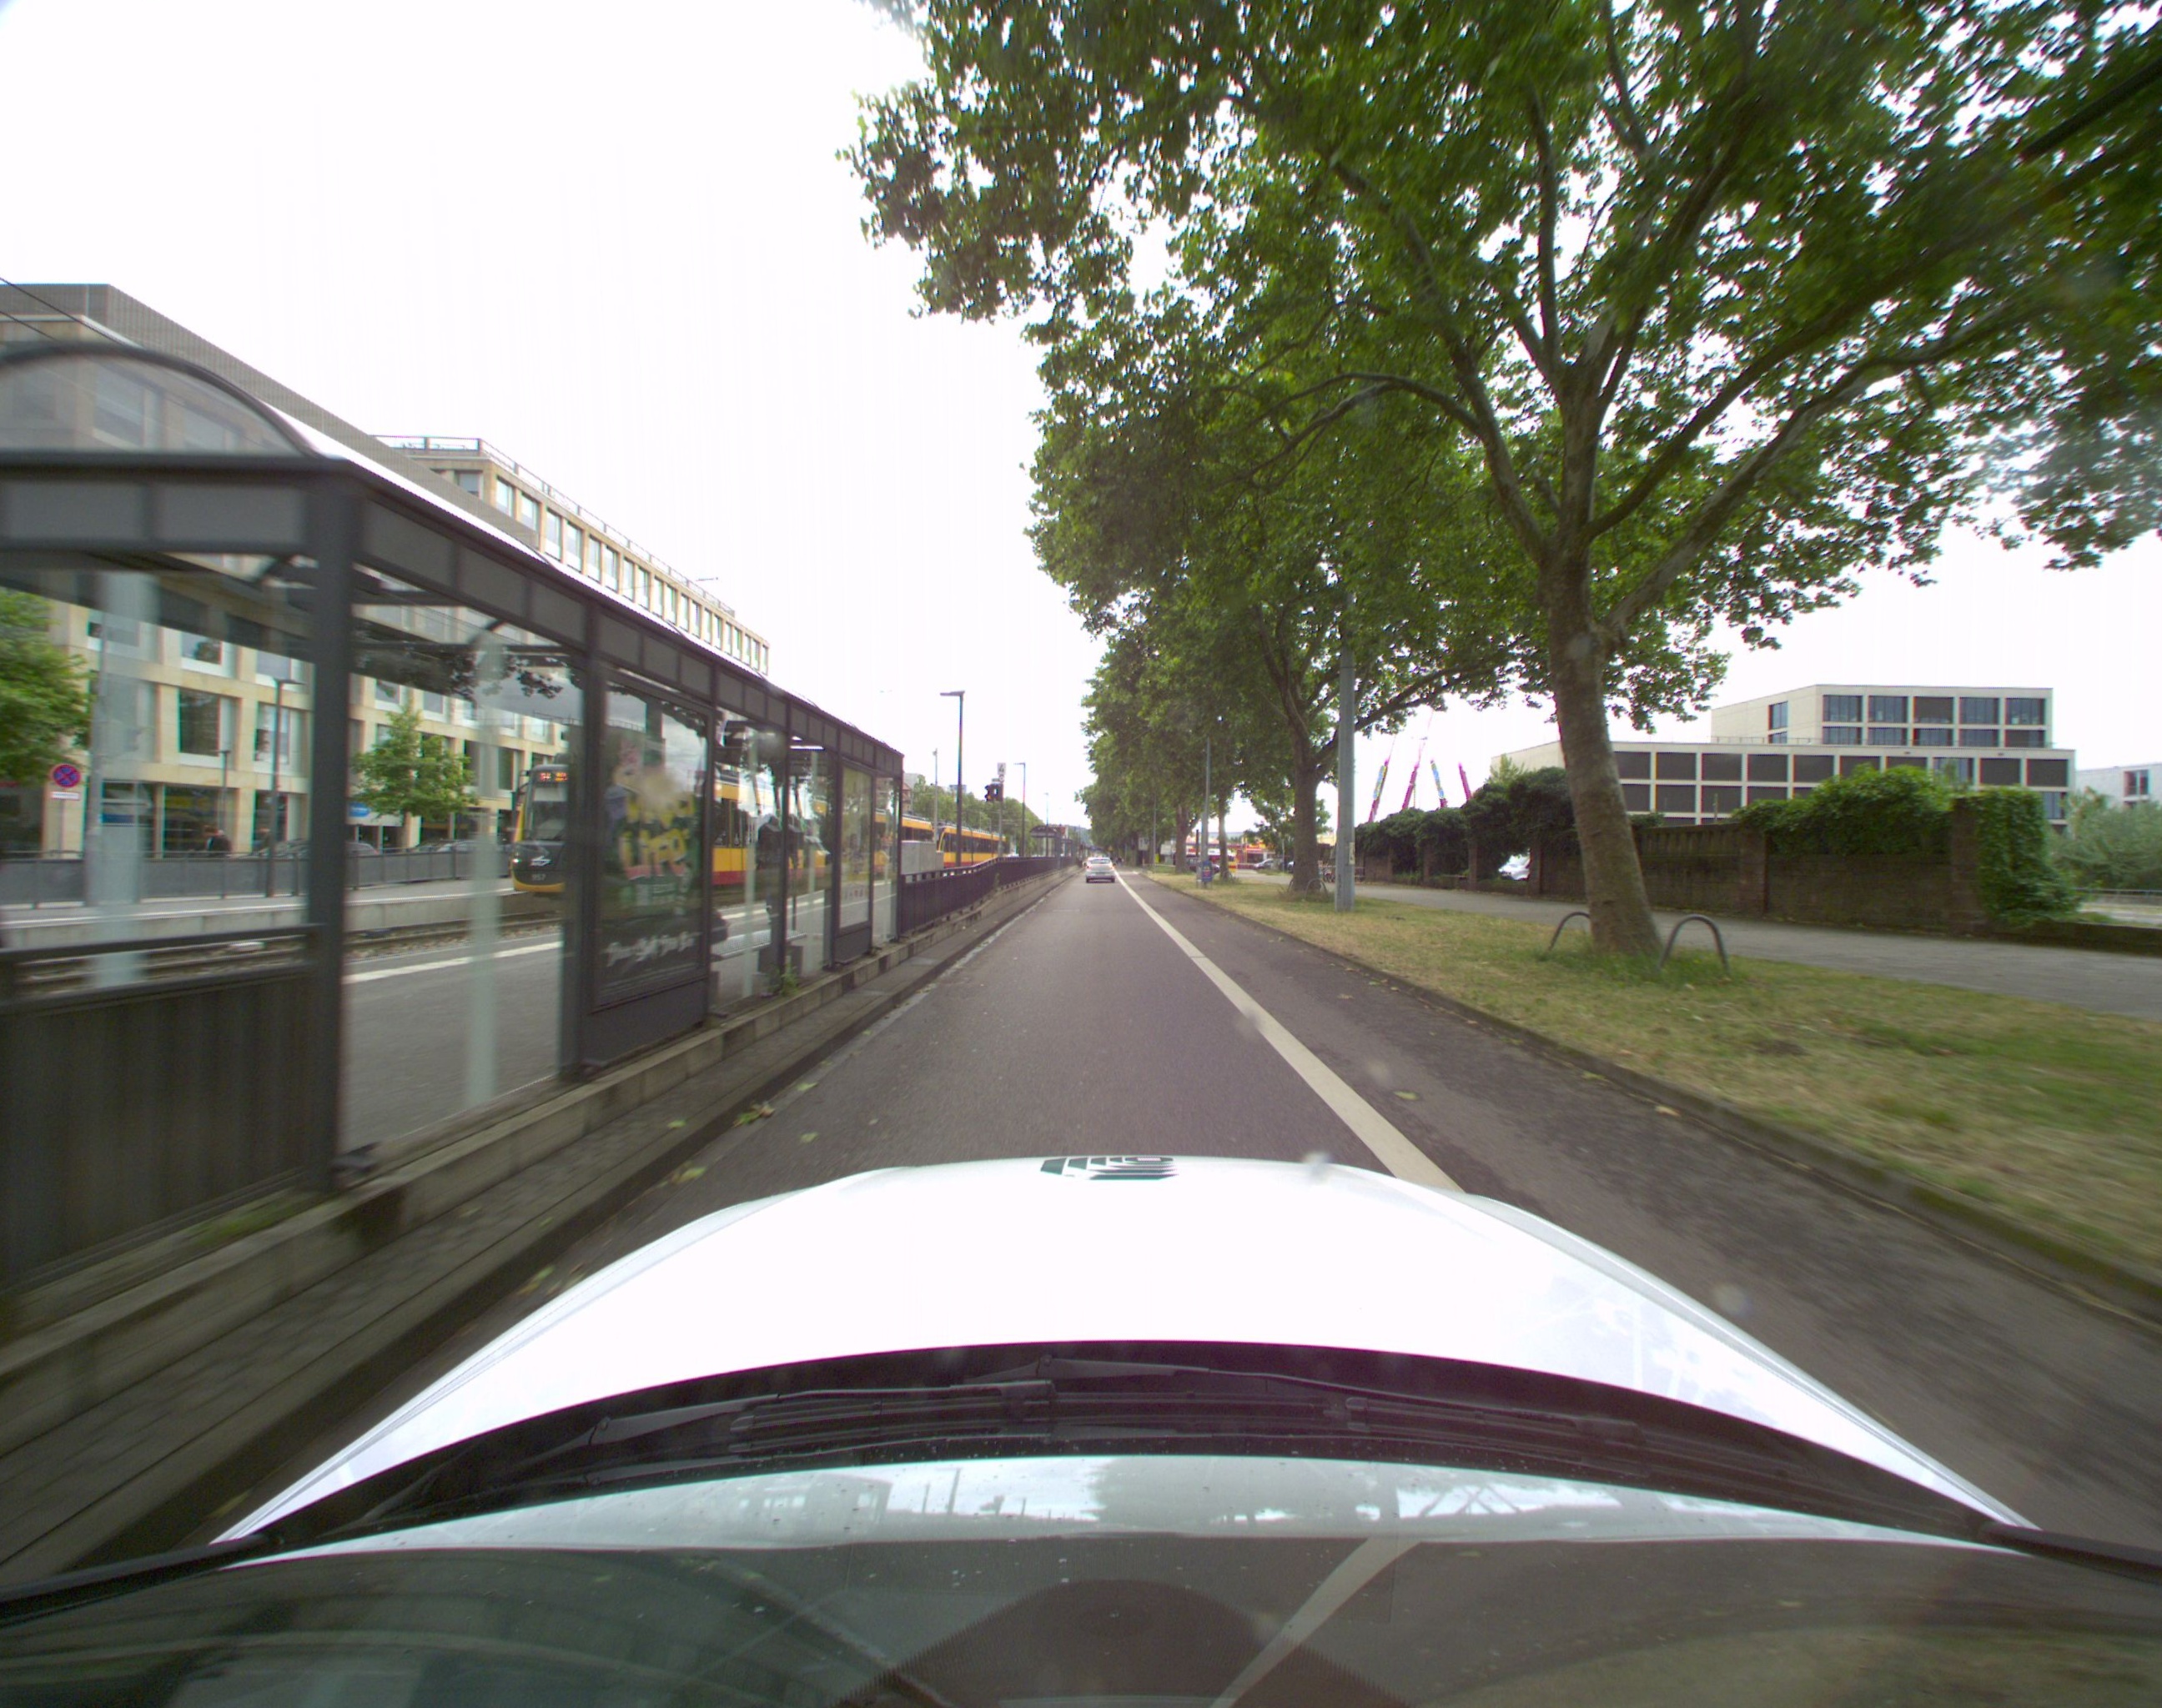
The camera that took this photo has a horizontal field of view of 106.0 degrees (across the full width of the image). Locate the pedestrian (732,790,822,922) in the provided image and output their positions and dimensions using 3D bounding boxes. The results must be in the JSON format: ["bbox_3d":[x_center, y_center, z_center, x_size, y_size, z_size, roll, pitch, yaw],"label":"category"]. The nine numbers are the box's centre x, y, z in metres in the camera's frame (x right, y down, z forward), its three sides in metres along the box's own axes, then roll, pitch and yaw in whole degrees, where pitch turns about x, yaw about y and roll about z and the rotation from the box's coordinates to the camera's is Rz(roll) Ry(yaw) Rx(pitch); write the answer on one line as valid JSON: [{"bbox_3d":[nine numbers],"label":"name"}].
[{"bbox_3d":[-4.782,0.034,12.885,1.054,2.014,0.840,1,-1,1],"label":"pedestrian"}]

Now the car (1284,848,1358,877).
[{"bbox_3d":[21.345,0.759,72.476,6.005,2.556,2.099,1,-1,-1],"label":"car"}]

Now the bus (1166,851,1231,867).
[{"bbox_3d":[17.213,0.719,119.425,9.251,2.227,1.999,1,-1,-2],"label":"bus"}]

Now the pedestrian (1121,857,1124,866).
[{"bbox_3d":[7.517,1.298,146.096,0.393,1.585,0.540,0,-1,13],"label":"pedestrian"}]

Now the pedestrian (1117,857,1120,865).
[{"bbox_3d":[6.686,1.238,146.251,0.393,1.444,0.565,0,-1,13],"label":"pedestrian"}]

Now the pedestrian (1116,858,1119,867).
[{"bbox_3d":[7.602,1.764,170.097,0.393,2.014,0.404,0,-1,16],"label":"pedestrian"}]

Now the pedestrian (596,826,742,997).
[{"bbox_3d":[-3.289,0.448,6.562,0.832,1.303,0.613,1,-1,-1],"label":"pedestrian"}]

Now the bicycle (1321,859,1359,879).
[{"bbox_3d":[14.660,0.838,46.102,1.968,1.095,0.549,-1,-1,-1],"label":"bicycle"}]

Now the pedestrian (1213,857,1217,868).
[{"bbox_3d":[18.633,1.169,113.129,0.491,1.463,0.523,1,-1,-2],"label":"pedestrian"}]

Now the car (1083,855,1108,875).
[{"bbox_3d":[1.156,0.859,64.448,1.833,1.552,4.003,0,0,3],"label":"car"}]

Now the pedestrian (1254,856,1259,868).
[{"bbox_3d":[24.805,1.129,114.901,0.523,1.687,0.491,1,-1,-15],"label":"pedestrian"}]

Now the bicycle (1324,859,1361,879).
[{"bbox_3d":[14.585,0.840,45.464,1.894,1.097,0.549,-1,-1,-1],"label":"bicycle"}]

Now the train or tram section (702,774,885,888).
[{"bbox_3d":[-11.190,-0.719,33.514,3.152,3.862,11.314,1,-1,2],"label":"train or tram section"}]

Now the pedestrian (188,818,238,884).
[{"bbox_3d":[-26.903,-0.089,25.258,0.710,2.014,0.725,1,-1,0],"label":"pedestrian"}]

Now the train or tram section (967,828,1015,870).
[{"bbox_3d":[-9.706,-0.452,89.617,3.168,4.179,14.738,1,-1,2],"label":"train or tram section"}]

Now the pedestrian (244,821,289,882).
[{"bbox_3d":[-27.380,-0.070,27.383,0.710,2.014,0.725,1,-1,0],"label":"pedestrian"}]

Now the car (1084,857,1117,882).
[{"bbox_3d":[1.265,0.912,50.017,1.877,1.453,4.003,1,-1,3],"label":"car"}]

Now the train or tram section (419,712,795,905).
[{"bbox_3d":[-11.539,-0.858,22.073,3.225,3.862,11.314,1,-1,2],"label":"train or tram section"}]

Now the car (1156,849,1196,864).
[{"bbox_3d":[9.596,0.278,82.483,3.969,1.486,1.788,0,0,4],"label":"car"}]

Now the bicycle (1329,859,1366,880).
[{"bbox_3d":[14.680,0.846,44.886,1.884,1.105,0.549,-1,-1,-1],"label":"bicycle"}]

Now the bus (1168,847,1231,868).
[{"bbox_3d":[17.795,0.573,122.405,9.251,2.960,1.999,1,-1,-2],"label":"bus"}]

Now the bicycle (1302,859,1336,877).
[{"bbox_3d":[14.630,0.877,50.044,1.916,1.091,0.549,-1,-1,-1],"label":"bicycle"}]

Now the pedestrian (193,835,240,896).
[{"bbox_3d":[-28.804,0.389,27.142,0.710,2.014,0.725,1,-1,0],"label":"pedestrian"}]

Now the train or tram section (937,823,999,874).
[{"bbox_3d":[-10.108,-0.394,74.941,3.168,4.179,14.738,1,-1,2],"label":"train or tram section"}]

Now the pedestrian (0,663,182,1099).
[{"bbox_3d":[-4.798,0.112,3.486,0.669,1.793,1.110,1,-1,-8],"label":"pedestrian"}]

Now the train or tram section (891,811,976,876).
[{"bbox_3d":[-10.493,-0.566,60.194,3.168,4.179,14.738,1,-1,2],"label":"train or tram section"}]

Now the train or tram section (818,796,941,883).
[{"bbox_3d":[-10.866,-0.619,46.012,3.168,4.179,13.624,1,-1,2],"label":"train or tram section"}]

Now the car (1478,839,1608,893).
[{"bbox_3d":[21.262,0.554,37.604,5.081,2.264,1.665,2,-1,-2],"label":"car"}]

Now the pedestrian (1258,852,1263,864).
[{"bbox_3d":[25.387,0.596,115.215,0.523,1.687,0.491,1,-1,-15],"label":"pedestrian"}]
